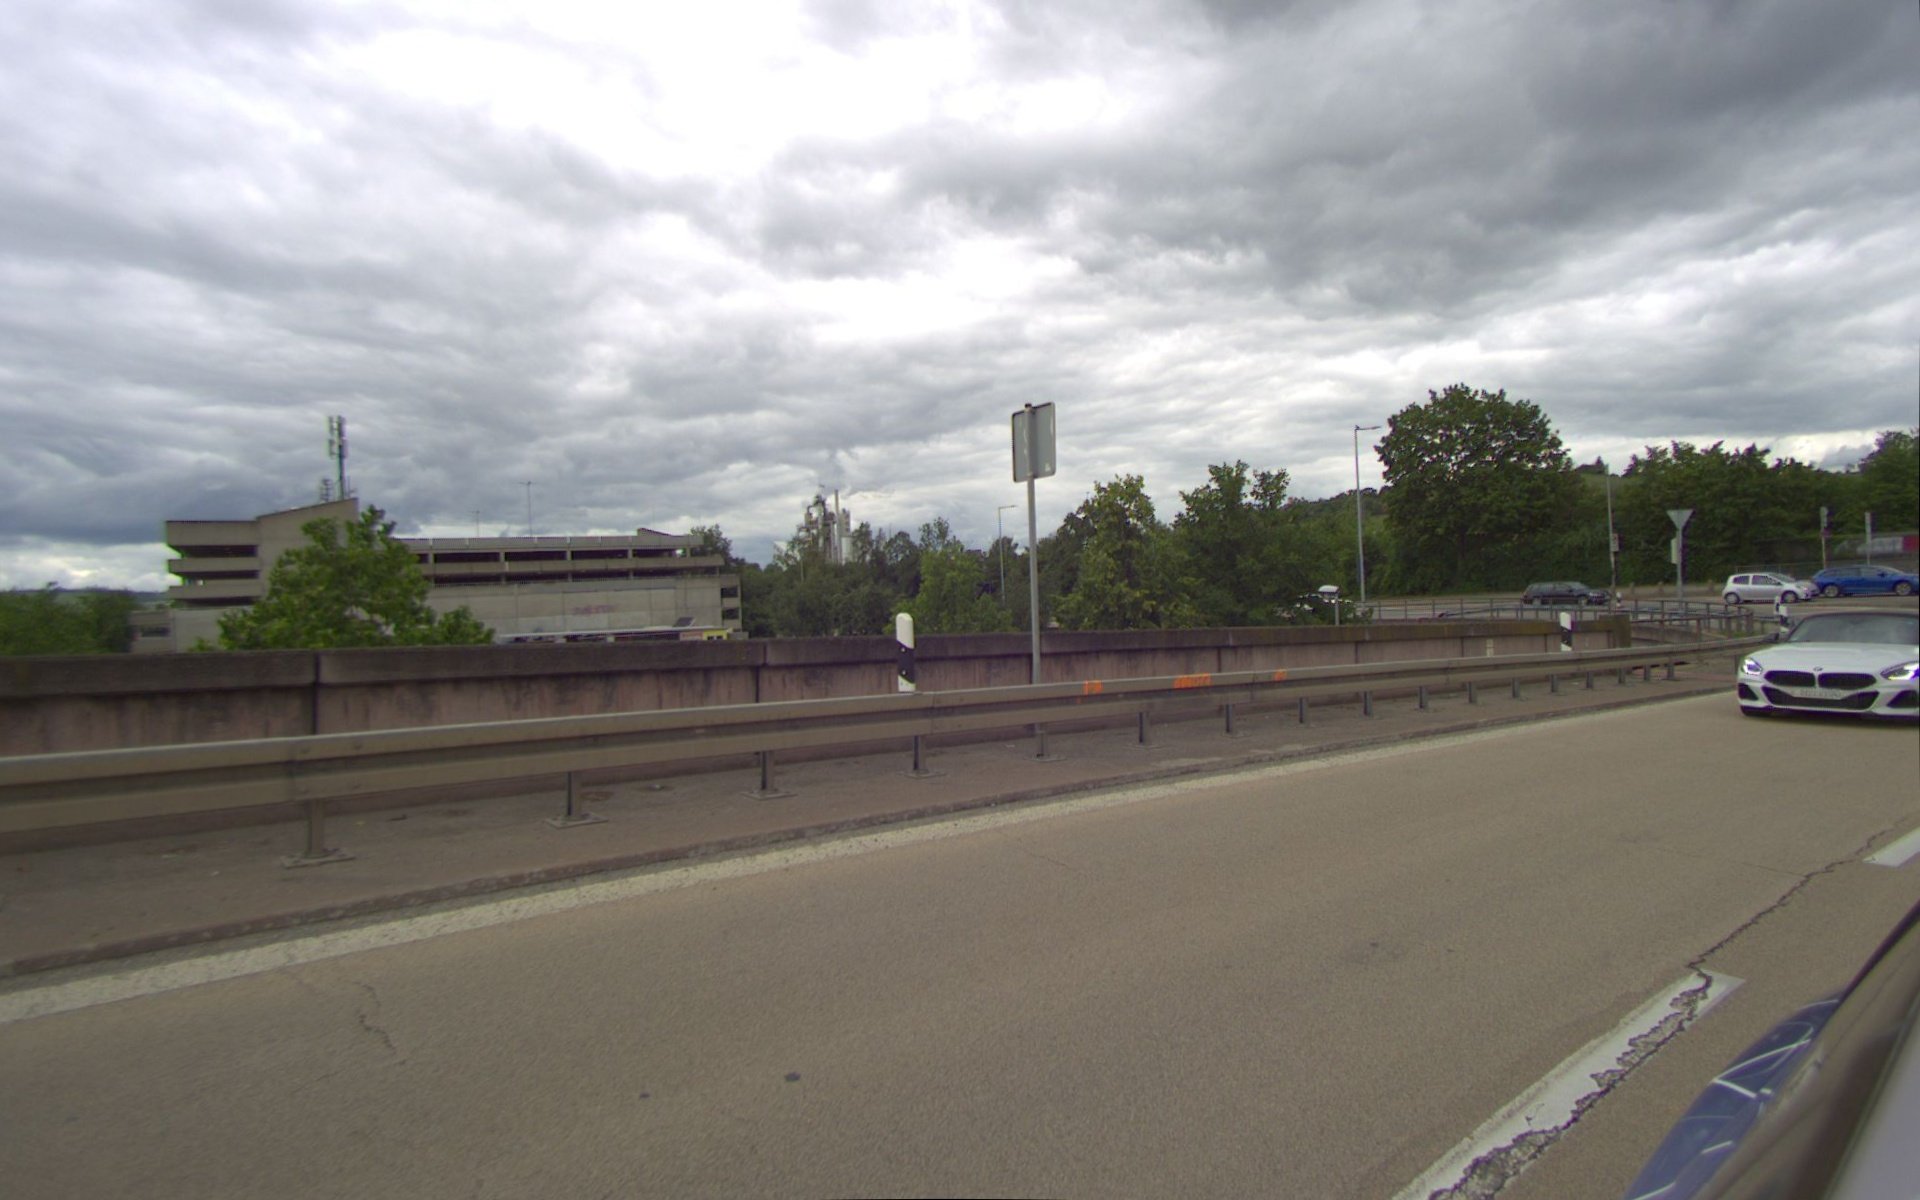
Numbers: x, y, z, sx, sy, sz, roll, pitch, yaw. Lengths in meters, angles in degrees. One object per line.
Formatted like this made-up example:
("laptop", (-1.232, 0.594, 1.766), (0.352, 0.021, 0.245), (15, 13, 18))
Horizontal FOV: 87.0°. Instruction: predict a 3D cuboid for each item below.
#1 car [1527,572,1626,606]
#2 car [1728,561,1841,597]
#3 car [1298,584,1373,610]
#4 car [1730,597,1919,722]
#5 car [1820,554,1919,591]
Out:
("car", (34.535, -0.586, 56.777), (1.910, 1.576, 4.298), (-5, 0, -30))
("car", (38.804, -0.967, 47.726), (1.596, 1.391, 3.752), (-5, 0, -28))
("car", (26.597, -0.182, 71.788), (1.843, 1.580, 4.715), (-5, 0, -33))
("car", (11.888, 0.675, 13.106), (4.735, 1.362, 1.862), (0, -1, -38))
("car", (42.603, -1.265, 46.394), (1.578, 1.472, 4.548), (-5, 1, -27))
